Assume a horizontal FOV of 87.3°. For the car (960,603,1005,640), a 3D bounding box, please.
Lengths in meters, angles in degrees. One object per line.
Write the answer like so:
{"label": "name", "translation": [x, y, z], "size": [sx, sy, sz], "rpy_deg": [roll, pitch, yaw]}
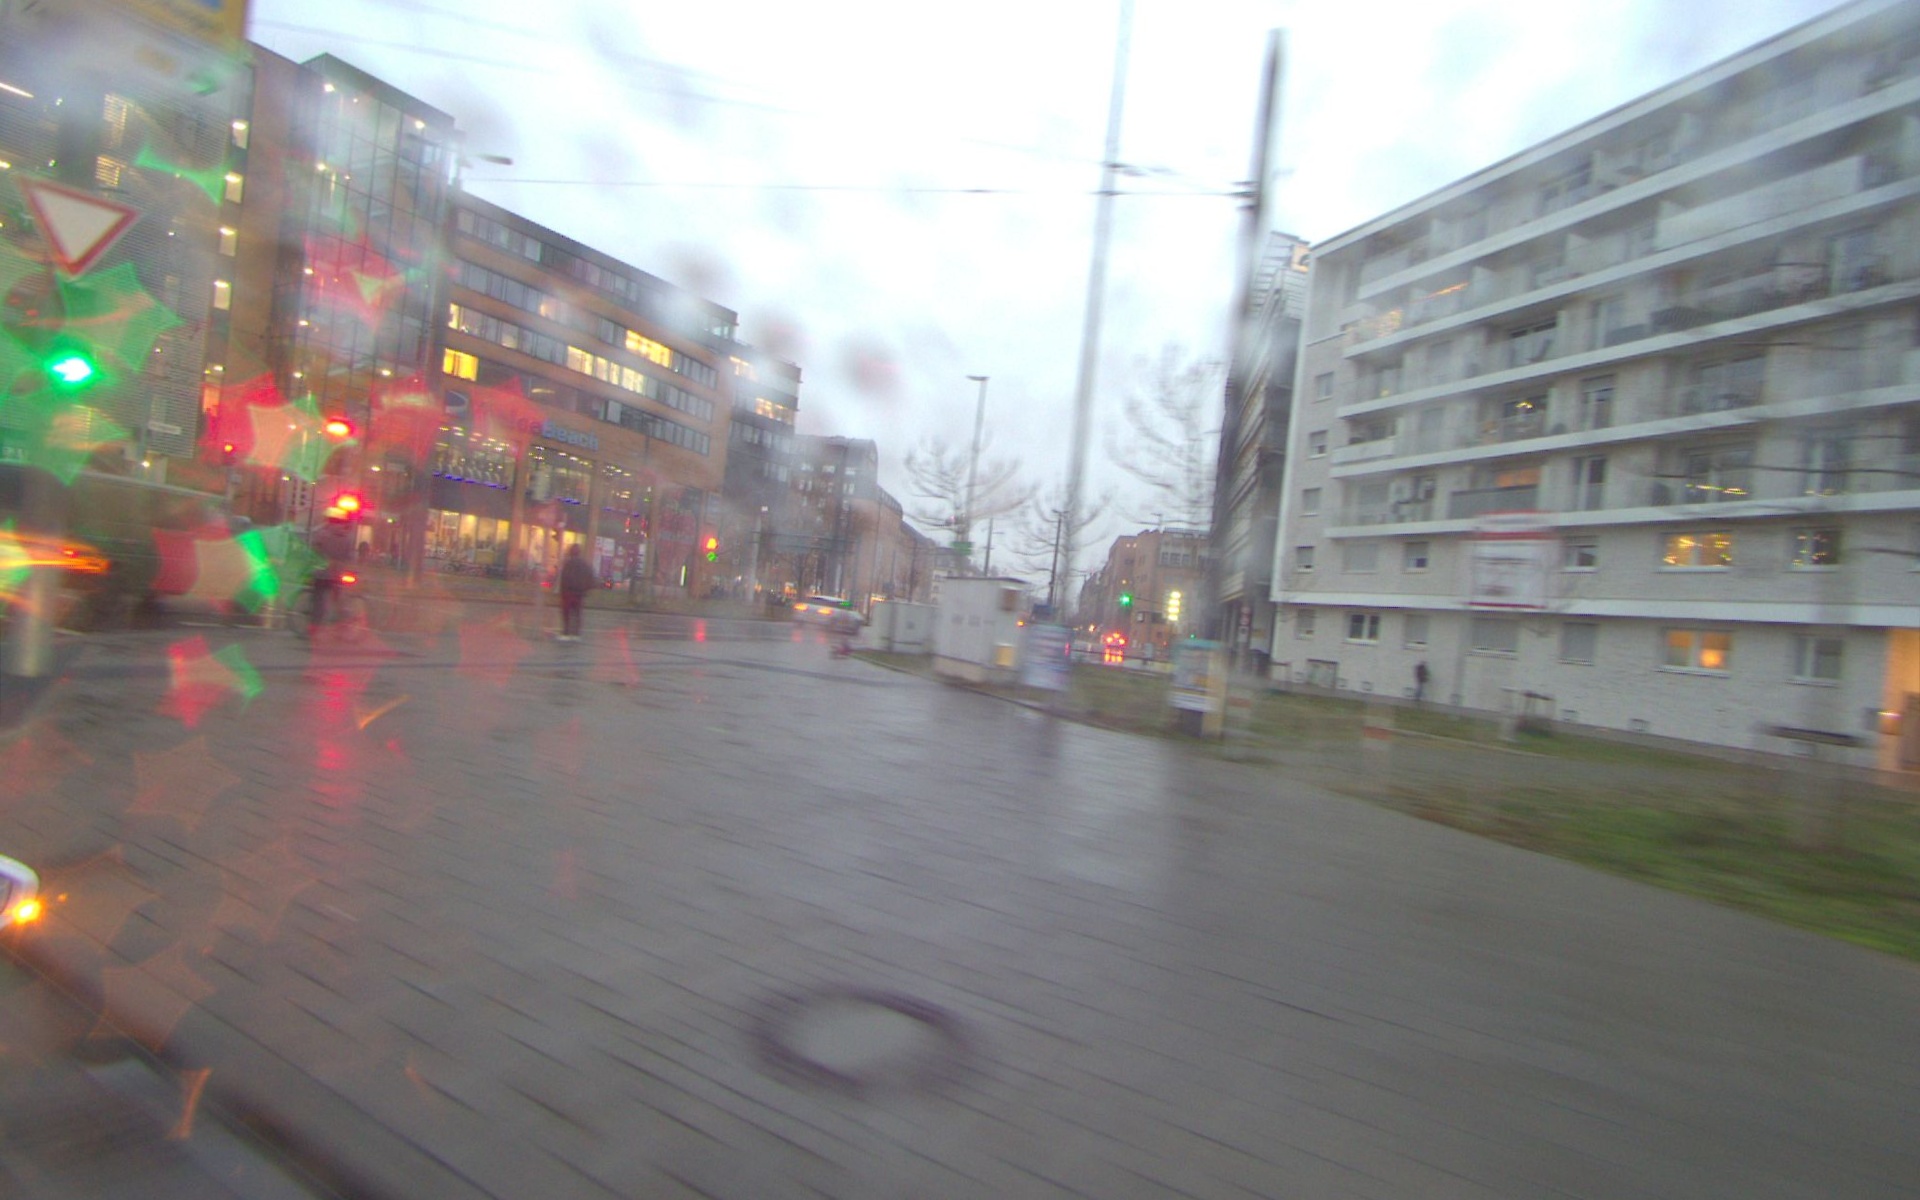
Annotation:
{"label": "car", "translation": [1.782, 1.677, 76.441], "size": [1.962, 2.456, 5.979], "rpy_deg": [7, -1, 13]}

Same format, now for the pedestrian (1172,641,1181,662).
{"label": "pedestrian", "translation": [18.309, 4.382, 85.153], "size": [0.522, 1.703, 0.745], "rpy_deg": [7, 0, 18]}

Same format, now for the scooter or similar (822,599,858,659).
{"label": "scooter or similar", "translation": [-2.557, 0.622, 21.508], "size": [0.327, 1.221, 1.310], "rpy_deg": [6, 0, 7]}

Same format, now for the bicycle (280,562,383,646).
{"label": "bicycle", "translation": [-8.924, 0.039, 14.254], "size": [1.840, 0.985, 0.654], "rpy_deg": [6, 0, 41]}

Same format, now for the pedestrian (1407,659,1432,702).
{"label": "pedestrian", "translation": [18.791, 3.295, 41.123], "size": [0.623, 1.652, 0.719], "rpy_deg": [7, 0, 39]}

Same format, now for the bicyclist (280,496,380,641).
{"label": "bicyclist", "translation": [-8.864, -0.447, 14.156], "size": [0.975, 1.914, 0.789], "rpy_deg": [7, 0, 41]}

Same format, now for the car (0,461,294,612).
{"label": "car", "translation": [-12.451, -0.840, 15.151], "size": [1.816, 1.828, 4.486], "rpy_deg": [7, -1, -2]}

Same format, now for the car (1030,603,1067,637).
{"label": "car", "translation": [8.757, 2.045, 98.971], "size": [2.318, 2.860, 6.363], "rpy_deg": [7, -1, 15]}

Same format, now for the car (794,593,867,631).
{"label": "car", "translation": [-5.765, 0.560, 45.089], "size": [1.614, 1.377, 3.734], "rpy_deg": [7, -1, 19]}

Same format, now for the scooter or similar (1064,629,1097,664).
{"label": "scooter or similar", "translation": [4.805, 1.861, 40.102], "size": [0.659, 1.241, 1.555], "rpy_deg": [6, -2, 30]}

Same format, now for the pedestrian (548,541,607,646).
{"label": "pedestrian", "translation": [-7.322, -0.127, 19.270], "size": [0.768, 1.901, 0.630], "rpy_deg": [6, 0, -33]}

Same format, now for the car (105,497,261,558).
{"label": "car", "translation": [-31.661, -2.916, 41.141], "size": [1.898, 1.740, 4.601], "rpy_deg": [7, -1, 31]}
